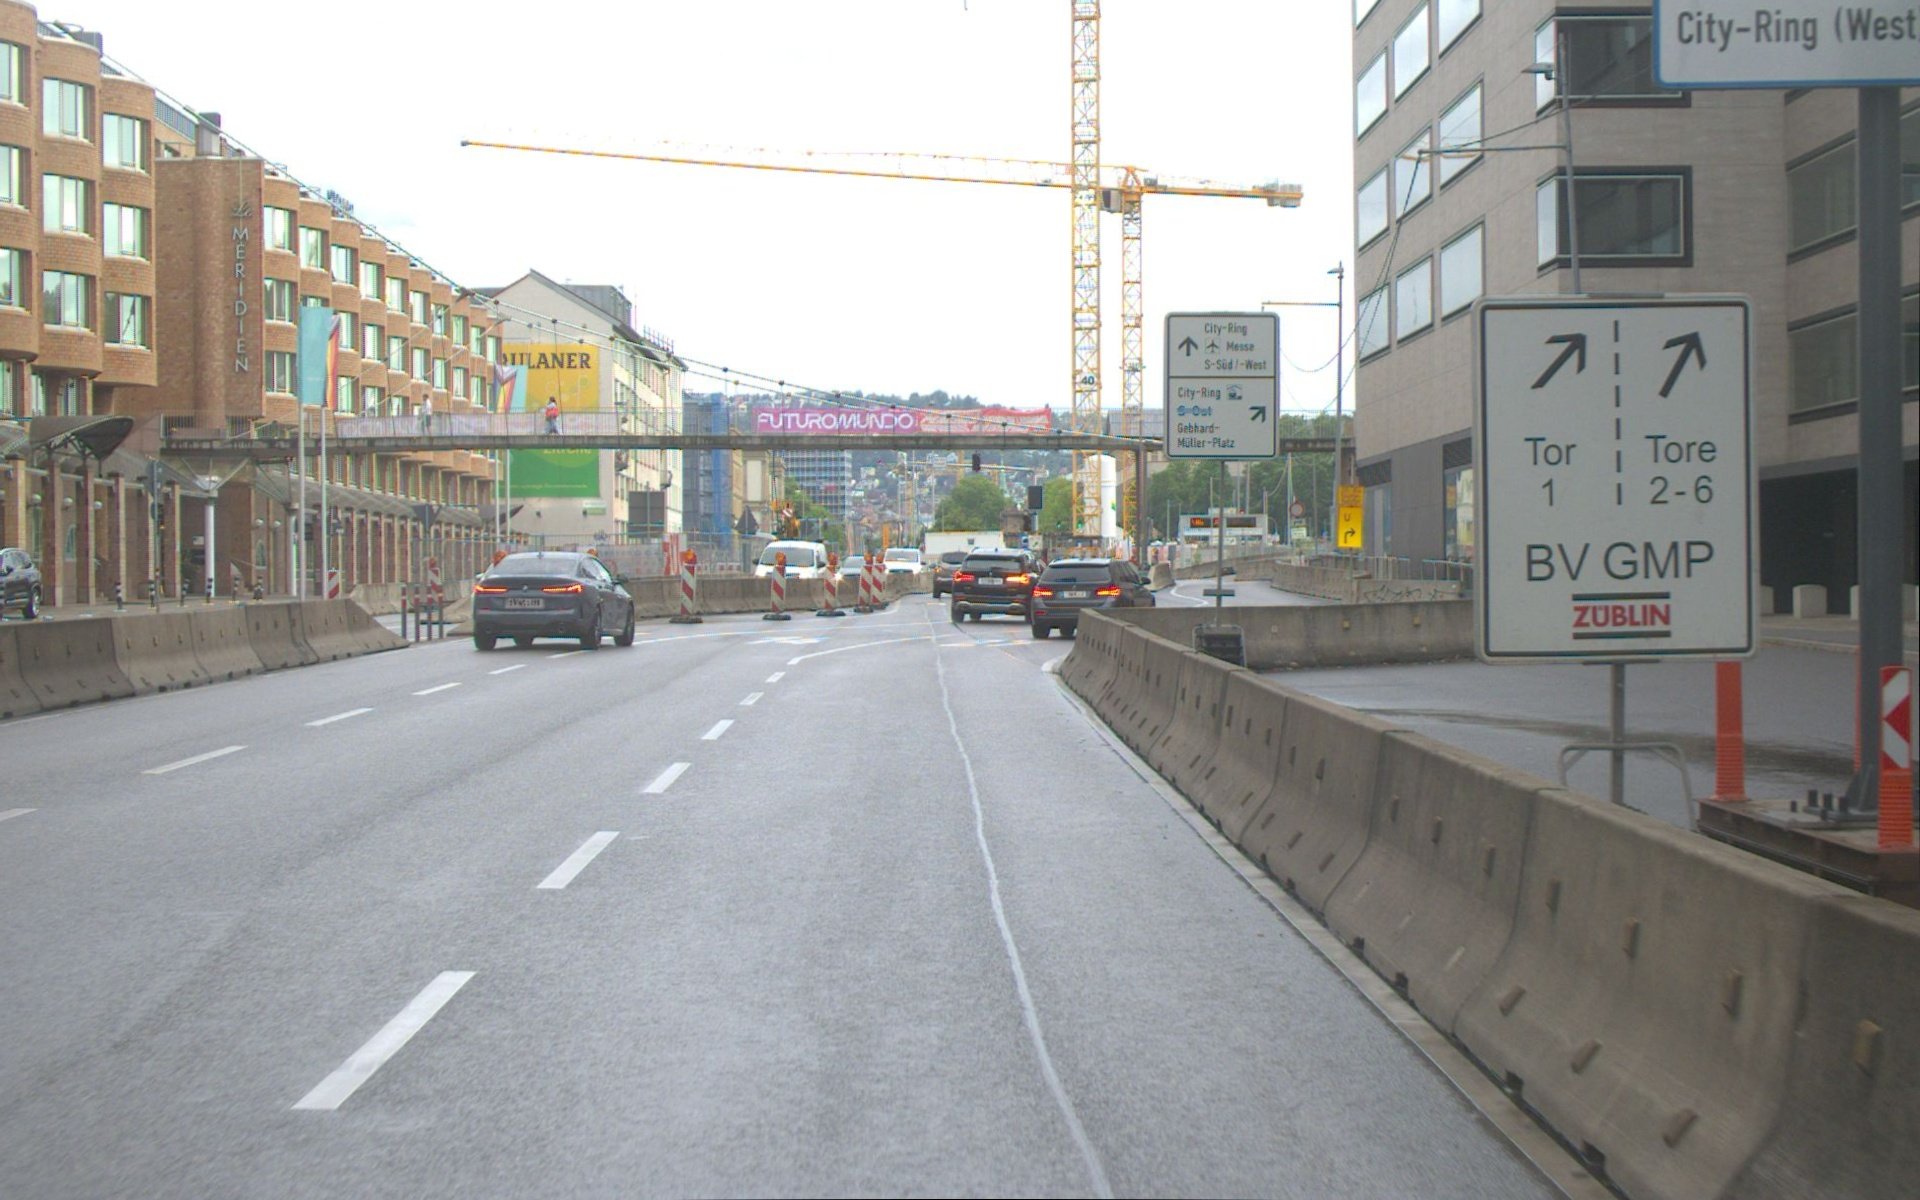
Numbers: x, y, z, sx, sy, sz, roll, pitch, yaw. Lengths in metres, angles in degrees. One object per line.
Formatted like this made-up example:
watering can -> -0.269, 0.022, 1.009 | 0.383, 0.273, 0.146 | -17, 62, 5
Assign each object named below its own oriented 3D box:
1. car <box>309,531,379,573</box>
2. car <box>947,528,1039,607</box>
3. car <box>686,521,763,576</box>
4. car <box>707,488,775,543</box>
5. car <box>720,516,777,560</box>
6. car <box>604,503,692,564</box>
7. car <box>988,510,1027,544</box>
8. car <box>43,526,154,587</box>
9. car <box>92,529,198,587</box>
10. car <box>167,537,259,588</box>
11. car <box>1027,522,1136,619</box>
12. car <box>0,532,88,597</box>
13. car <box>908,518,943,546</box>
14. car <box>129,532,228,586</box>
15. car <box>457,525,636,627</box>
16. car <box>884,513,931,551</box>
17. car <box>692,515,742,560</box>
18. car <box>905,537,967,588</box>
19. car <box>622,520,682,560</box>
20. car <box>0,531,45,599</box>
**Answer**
car -> -24.885, -1.935, 139.052 | 1.993, 1.614, 4.690 | -1, 1, 0
car -> 0.770, -0.730, 76.581 | 1.900, 1.687, 4.000 | -1, 1, 2
car -> -7.133, -1.546, 104.514 | 1.993, 1.614, 4.763 | -1, 0, 0
car -> -7.445, -2.860, 117.186 | 1.993, 1.820, 4.763 | -1, 1, 0
car -> -8.001, -2.341, 130.387 | 1.993, 1.614, 4.763 | -1, 1, -2
car -> -8.639, -1.826, 95.558 | 1.993, 1.614, 4.763 | -1, 1, 0
car -> 2.452, -3.751, 176.956 | 1.900, 1.687, 4.000 | -1, 1, 2
car -> -23.854, -1.205, 95.360 | 1.993, 1.614, 4.318 | -1, 1, 0
car -> -23.819, -1.234, 100.632 | 1.993, 1.614, 4.690 | -1, 1, 0
car -> -24.453, -1.233, 112.635 | 1.993, 1.614, 4.690 | -1, 1, 0
car -> 2.190, -0.555, 62.768 | 1.900, 1.687, 4.000 | -1, 1, 1
car -> -23.867, -0.903, 87.969 | 1.993, 1.614, 4.318 | -1, 1, 0
car -> -2.089, -4.102, 207.545 | 1.900, 1.687, 4.000 | -1, 1, 2
car -> -24.180, -1.282, 106.498 | 1.993, 1.614, 4.690 | -1, 1, 0
car -> -6.095, -0.378, 51.105 | 1.791, 1.421, 4.384 | -1, 1, 5
car -> -2.400, -3.106, 157.656 | 1.900, 1.687, 4.000 | -1, 1, 2
car -> -11.342, -2.906, 160.512 | 1.993, 2.007, 4.000 | -1, 1, 1
car -> -0.794, -1.280, 117.885 | 1.900, 1.687, 4.000 | -1, 1, 2
car -> -12.812, -2.476, 143.344 | 1.993, 1.614, 4.763 | -1, 1, 1
car -> -23.784, -0.841, 83.406 | 1.993, 1.614, 4.318 | -1, 1, 0
